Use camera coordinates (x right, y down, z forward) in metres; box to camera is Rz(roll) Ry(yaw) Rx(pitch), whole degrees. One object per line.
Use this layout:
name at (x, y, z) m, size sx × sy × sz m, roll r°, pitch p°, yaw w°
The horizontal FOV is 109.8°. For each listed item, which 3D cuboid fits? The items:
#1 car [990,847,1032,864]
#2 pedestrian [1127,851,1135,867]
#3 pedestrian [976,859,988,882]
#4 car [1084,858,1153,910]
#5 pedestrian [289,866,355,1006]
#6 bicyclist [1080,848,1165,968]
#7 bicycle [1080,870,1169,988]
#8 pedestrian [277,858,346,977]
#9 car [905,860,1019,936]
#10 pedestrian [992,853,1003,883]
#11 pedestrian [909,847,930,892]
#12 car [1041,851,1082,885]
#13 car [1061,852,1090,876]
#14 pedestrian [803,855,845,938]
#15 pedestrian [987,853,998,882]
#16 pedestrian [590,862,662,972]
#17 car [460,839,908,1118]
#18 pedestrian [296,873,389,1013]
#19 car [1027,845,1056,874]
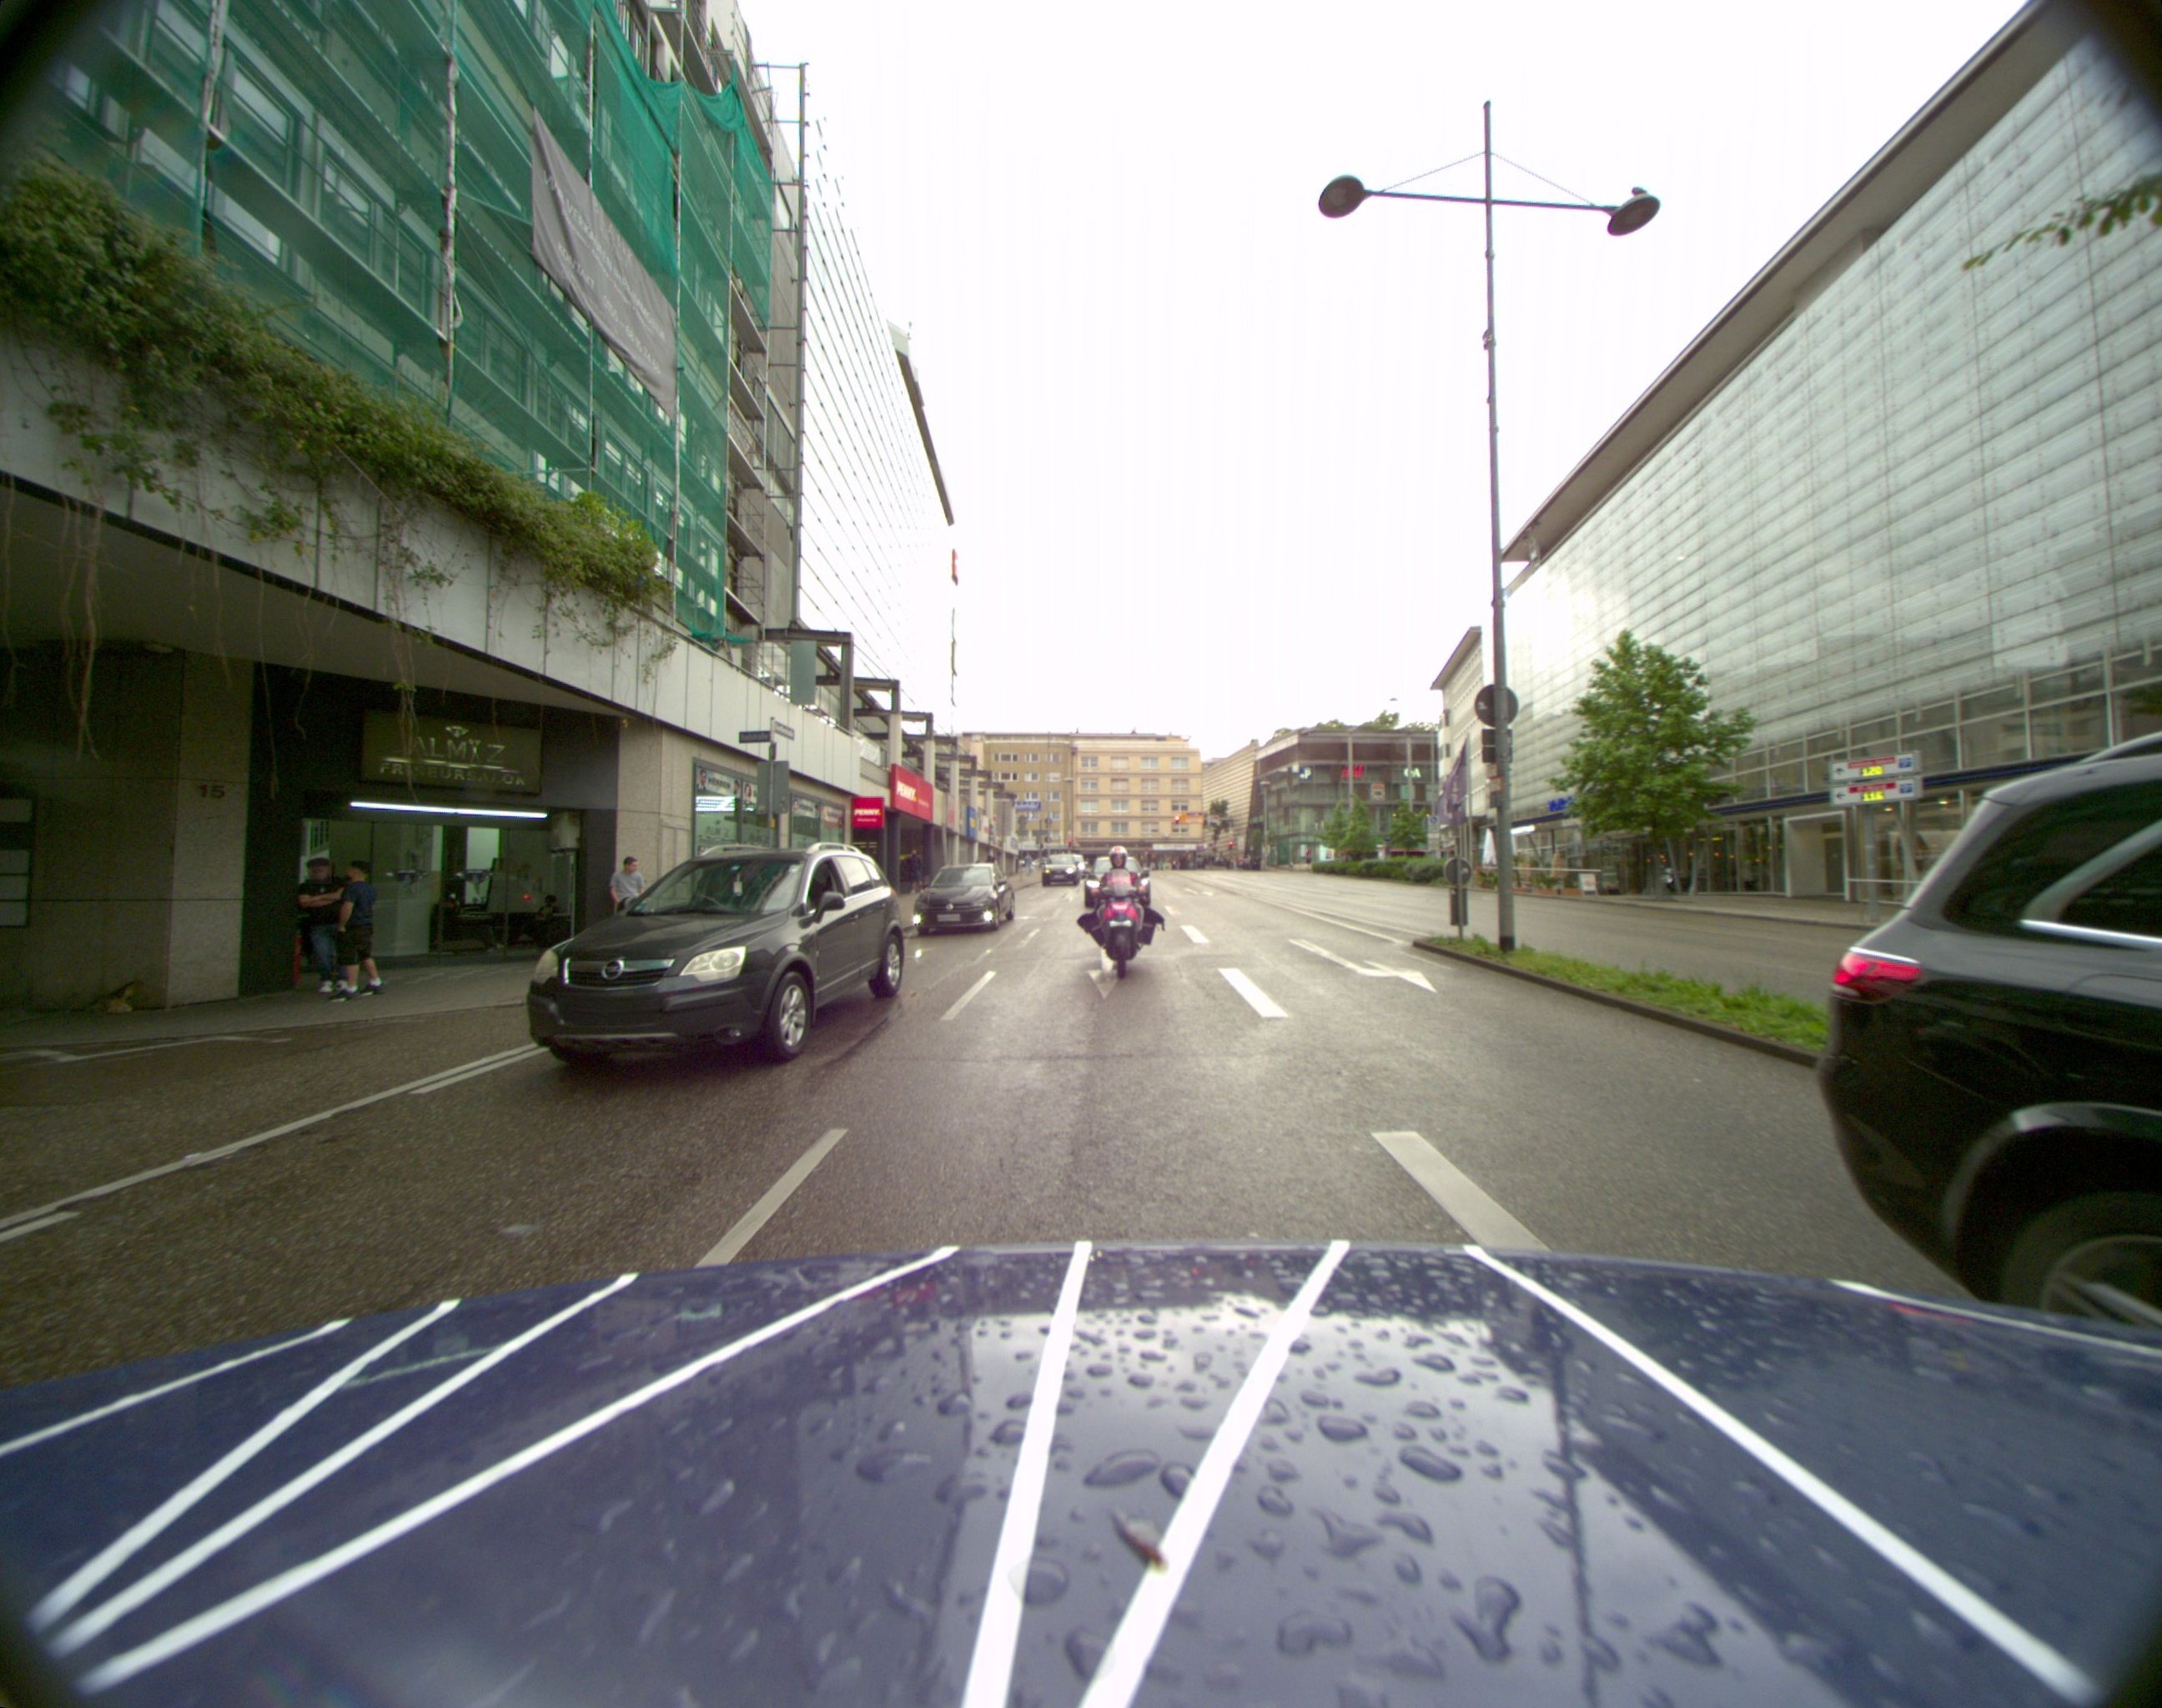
car at (-8.246, 0.162, 89.461) m, size 4.592 × 2.002 × 1.996 m, roll 0°, pitch 1°, yaw -21°
pedestrian at (5.510, 0.508, 84.161) m, size 0.627 × 1.764 × 0.687 m, roll -3°, pitch 2°, yaw -20°
pedestrian at (-5.122, 0.844, 39.362) m, size 0.510 × 1.160 × 0.579 m, roll 0°, pitch 2°, yaw -1°
car at (1.143, 0.844, 23.365) m, size 1.890 × 1.391 × 4.164 m, roll -2°, pitch 0°, yaw 2°
pedestrian at (-9.647, 1.014, 9.659) m, size 0.466 × 1.698 × 0.484 m, roll -1°, pitch 2°, yaw 42°
bicyclist at (0.547, 0.707, 10.418) m, size 1.063 × 1.534 × 0.825 m, roll -2°, pitch 1°, yaw 0°
bicycle at (0.531, 0.938, 10.604) m, size 1.034 × 1.279 × 2.948 m, roll -2°, pitch 1°, yaw 0°
pedestrian at (-12.285, 0.977, 12.136) m, size 0.771 × 1.805 × 0.745 m, roll 1°, pitch 1°, yaw 44°
car at (-2.576, 0.916, 17.480) m, size 1.759 × 1.495 × 4.165 m, roll -2°, pitch -1°, yaw 2°
pedestrian at (-4.229, 0.716, 38.525) m, size 0.510 × 1.492 × 0.579 m, roll 0°, pitch 2°, yaw -1°
pedestrian at (-6.090, 0.592, 28.638) m, size 0.578 × 1.669 × 0.511 m, roll 1°, pitch 2°, yaw 21°
car at (-0.970, 0.673, 39.835) m, size 1.841 × 1.598 × 4.164 m, roll -2°, pitch 0°, yaw 2°
car at (-0.351, 0.664, 51.075) m, size 1.675 × 1.520 × 4.165 m, roll -2°, pitch -1°, yaw 2°
pedestrian at (-5.196, 0.845, 15.370) m, size 0.677 × 1.618 × 0.579 m, roll 0°, pitch 2°, yaw -6°
pedestrian at (-4.566, 0.700, 39.283) m, size 0.510 × 1.492 × 0.579 m, roll 0°, pitch 2°, yaw -1°
pedestrian at (-7.151, 0.966, 11.975) m, size 0.639 × 1.633 × 0.733 m, roll -2°, pitch 2°, yaw -3°
car at (-3.059, 0.838, 7.007) m, size 1.764 × 1.755 × 4.165 m, roll -2°, pitch -1°, yaw 2°
pedestrian at (-8.967, 1.047, 9.252) m, size 0.640 × 1.586 × 0.576 m, roll -3°, pitch 2°, yaw -32°
car at (-2.906, 0.379, 56.557) m, size 1.605 × 2.002 × 3.401 m, roll -2°, pitch 1°, yaw 6°
